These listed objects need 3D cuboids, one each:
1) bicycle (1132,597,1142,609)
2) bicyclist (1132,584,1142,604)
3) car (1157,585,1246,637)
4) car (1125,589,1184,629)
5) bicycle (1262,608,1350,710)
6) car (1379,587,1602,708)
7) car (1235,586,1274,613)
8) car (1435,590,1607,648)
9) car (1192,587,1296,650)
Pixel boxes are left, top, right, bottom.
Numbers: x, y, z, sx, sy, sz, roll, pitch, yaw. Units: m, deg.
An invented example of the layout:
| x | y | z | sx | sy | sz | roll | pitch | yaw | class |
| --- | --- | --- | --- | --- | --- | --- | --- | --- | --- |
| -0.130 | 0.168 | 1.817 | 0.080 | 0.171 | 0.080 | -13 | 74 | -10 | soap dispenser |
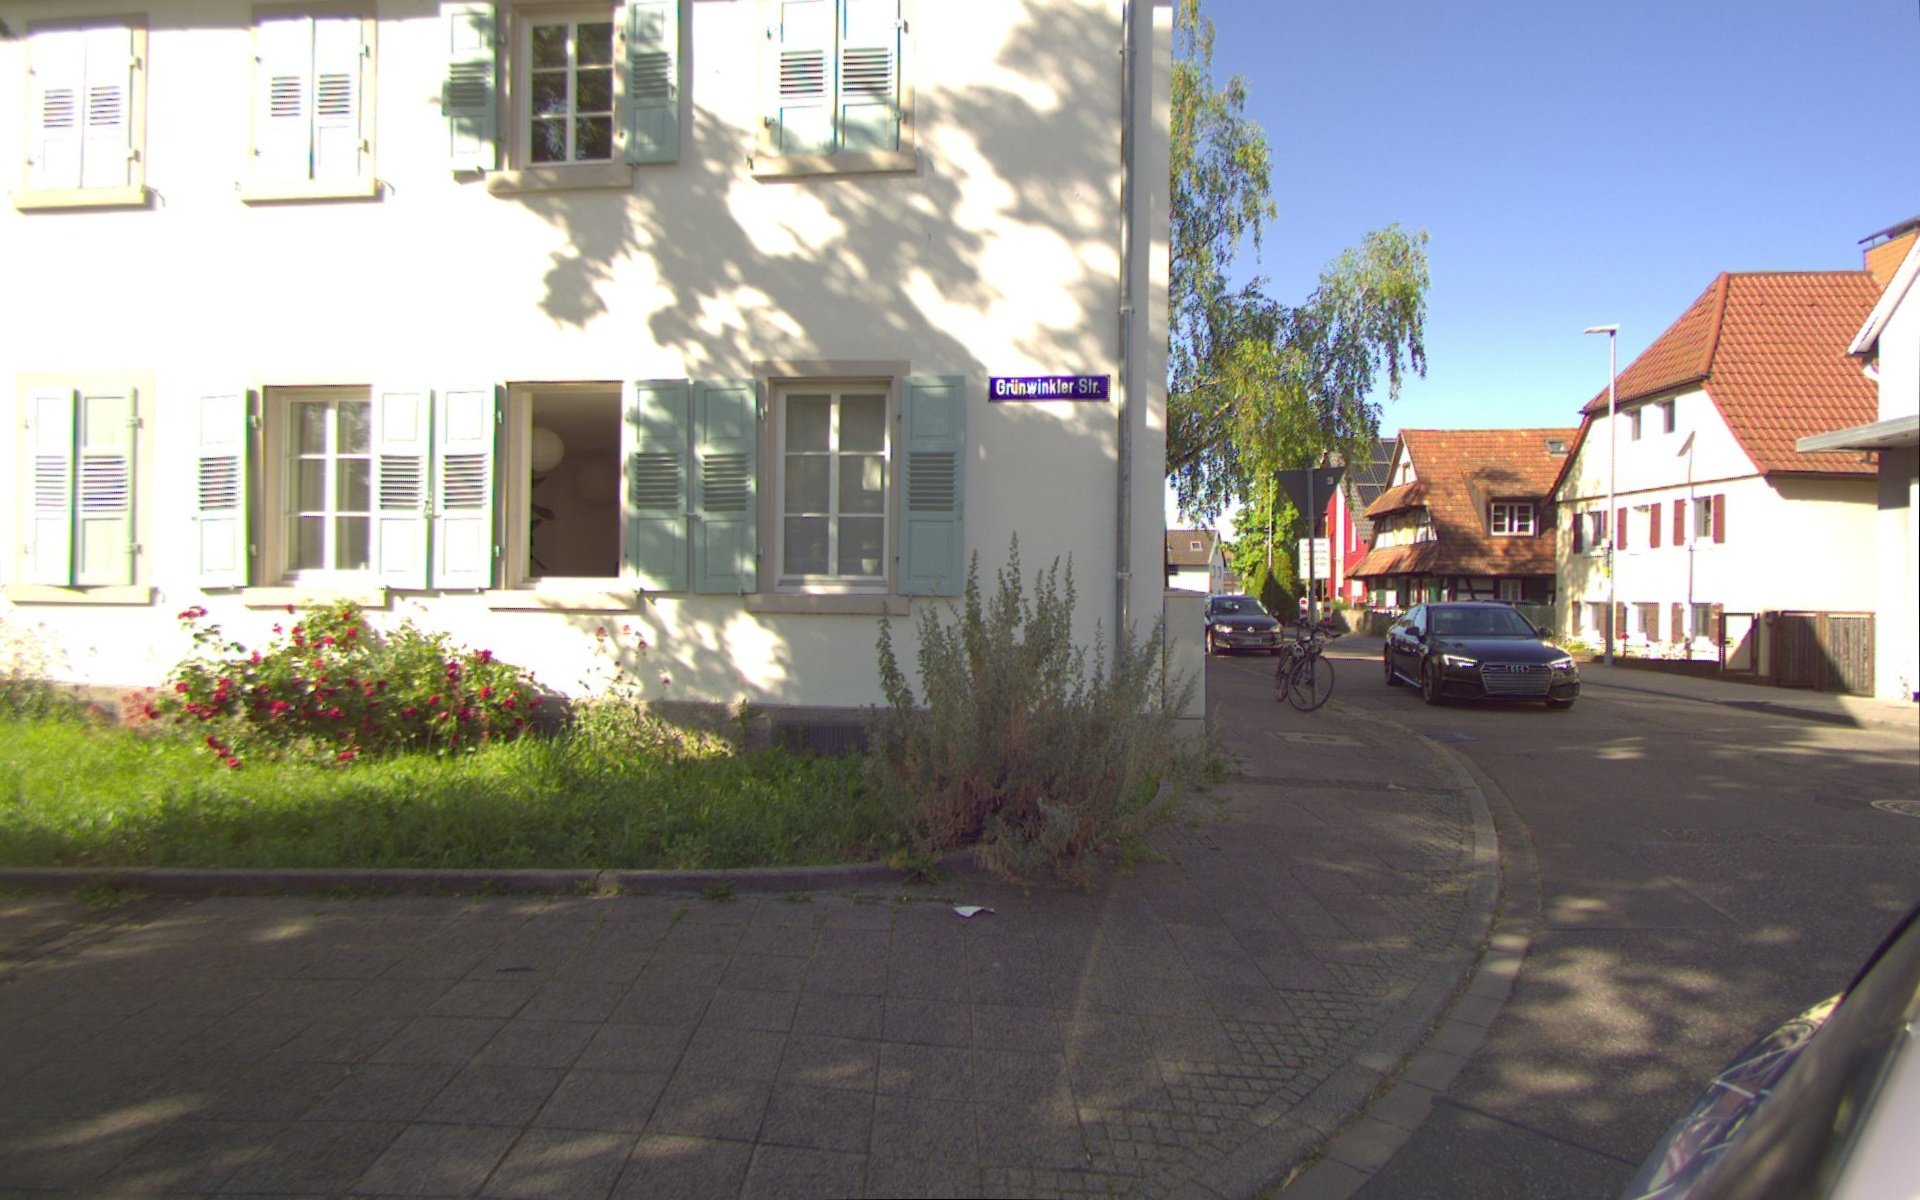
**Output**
| x | y | z | sx | sy | sz | roll | pitch | yaw | class |
| --- | --- | --- | --- | --- | --- | --- | --- | --- | --- |
| 12.088 | 0.201 | 69.095 | 0.574 | 0.771 | 1.792 | 3 | 1 | 13 | bicycle |
| 12.091 | -0.407 | 69.103 | 0.574 | 1.337 | 0.605 | 3 | 0 | 14 | bicyclist |
| 7.285 | 0.300 | 30.939 | 1.779 | 1.454 | 4.284 | 0 | 0 | 1 | car |
| 7.580 | 0.328 | 39.669 | 1.623 | 1.497 | 3.932 | 0 | 0 | 1 | car |
| 4.231 | 0.681 | 12.494 | 0.428 | 1.093 | 1.890 | 1 | 1 | 0 | bicycle |
| 7.591 | 0.572 | 14.970 | 1.781 | 1.496 | 4.328 | 1 | 0 | 12 | car |
| 18.396 | -0.030 | 63.084 | 1.802 | 1.616 | 4.410 | 0 | 0 | 23 | car |
| 16.861 | 0.543 | 30.552 | 4.092 | 1.480 | 1.849 | 3 | 0 | -1 | car |
| 7.079 | 0.409 | 25.617 | 1.781 | 1.454 | 4.279 | 0 | 0 | 5 | car |
